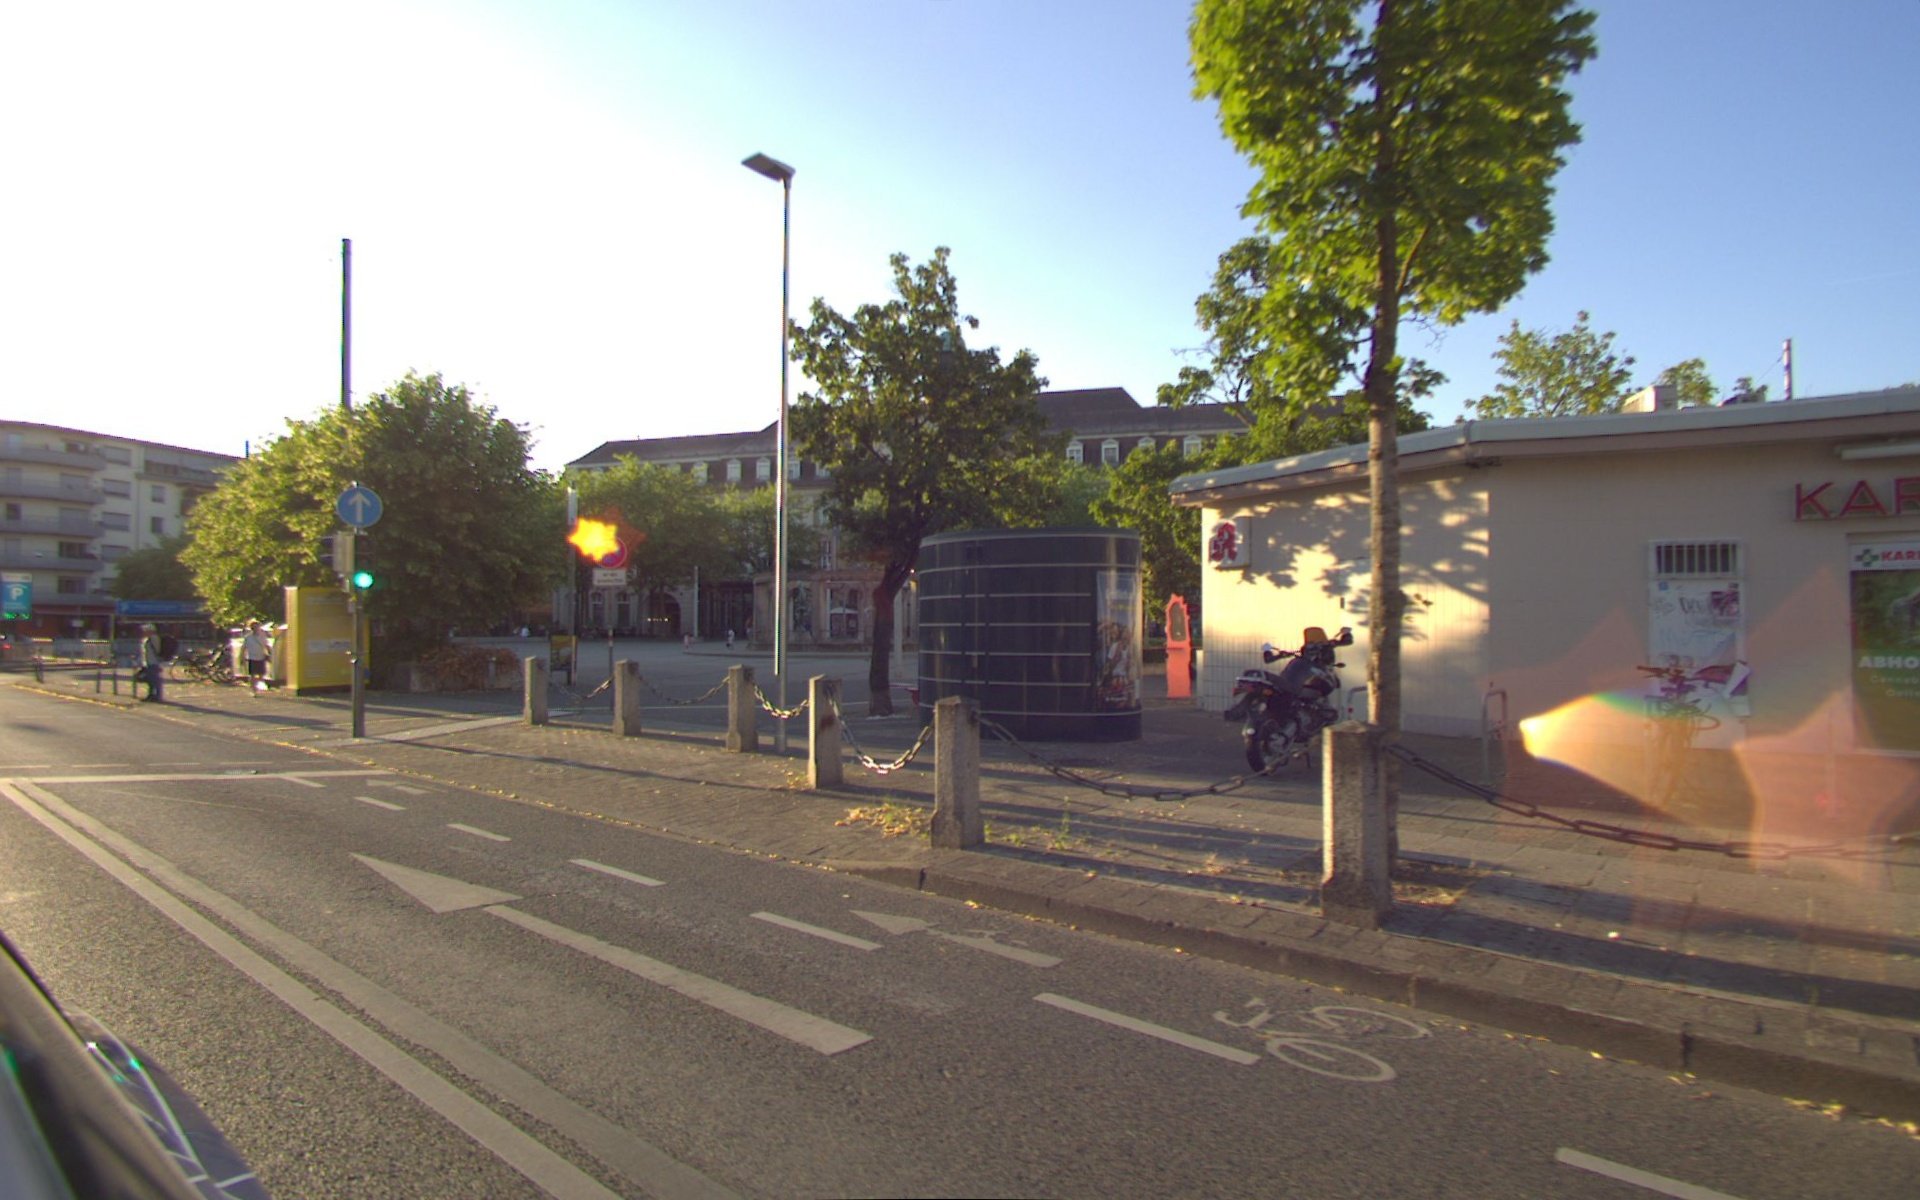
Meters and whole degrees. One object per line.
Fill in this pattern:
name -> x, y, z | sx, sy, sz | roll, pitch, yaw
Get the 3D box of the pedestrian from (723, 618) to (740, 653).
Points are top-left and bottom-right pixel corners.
pedestrian -> -11.368, 1.759, 50.326 | 0.672, 1.689, 0.610 | -1, -1, 6

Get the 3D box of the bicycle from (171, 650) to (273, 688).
bicycle -> -21.588, 2.006, 29.636 | 2.365, 0.966, 0.673 | 0, -1, -43

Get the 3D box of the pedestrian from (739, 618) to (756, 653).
pedestrian -> -10.424, 1.740, 49.632 | 0.666, 1.689, 0.553 | -1, -1, 7

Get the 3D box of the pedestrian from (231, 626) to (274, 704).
pedestrian -> -15.990, 1.439, 22.864 | 0.767, 1.689, 0.909 | 0, -1, -36

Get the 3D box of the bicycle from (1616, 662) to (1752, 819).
bicycle -> 6.141, 1.098, 8.527 | 0.779, 1.096, 2.153 | -1, -3, 40

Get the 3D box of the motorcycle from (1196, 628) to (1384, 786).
motorcycle -> 3.414, 1.010, 10.317 | 0.780, 1.376, 2.417 | -3, -2, 45

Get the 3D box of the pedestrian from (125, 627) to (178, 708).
pedestrian -> -17.584, 1.450, 22.021 | 0.892, 1.689, 0.781 | 0, -1, -39

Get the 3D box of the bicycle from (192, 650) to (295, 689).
bicycle -> -20.609, 1.985, 29.155 | 2.365, 0.966, 0.673 | 0, -1, -43

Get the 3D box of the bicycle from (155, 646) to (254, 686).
bicycle -> -22.876, 1.988, 30.675 | 2.365, 1.079, 0.673 | 0, -1, -43
